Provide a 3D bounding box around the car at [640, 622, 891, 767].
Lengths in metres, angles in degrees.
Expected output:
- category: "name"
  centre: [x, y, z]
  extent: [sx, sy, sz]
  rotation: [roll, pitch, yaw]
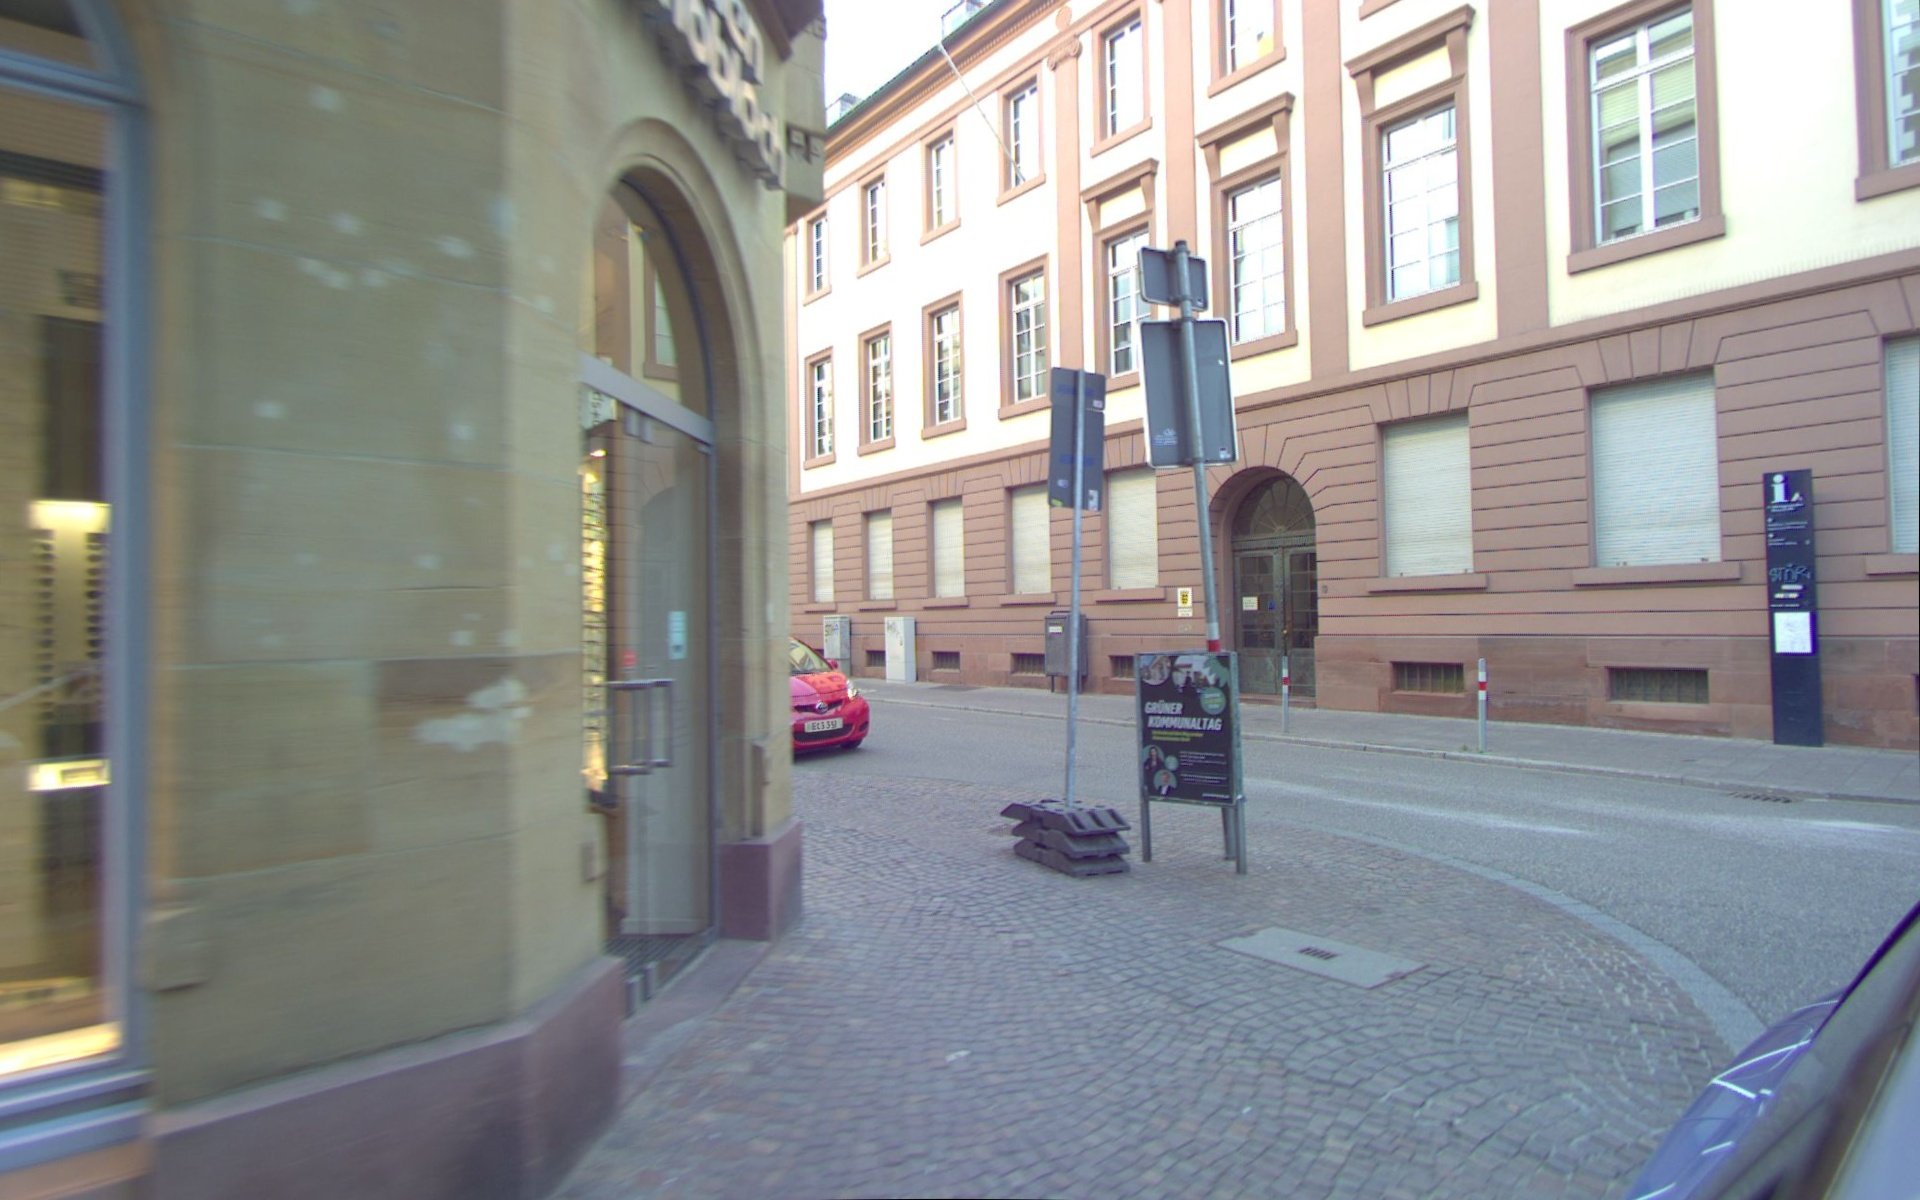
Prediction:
- category: "car"
  centre: [-2.559, 1.061, 12.726]
  extent: [1.590, 1.443, 3.593]
  rotation: [-4, 1, -38]
